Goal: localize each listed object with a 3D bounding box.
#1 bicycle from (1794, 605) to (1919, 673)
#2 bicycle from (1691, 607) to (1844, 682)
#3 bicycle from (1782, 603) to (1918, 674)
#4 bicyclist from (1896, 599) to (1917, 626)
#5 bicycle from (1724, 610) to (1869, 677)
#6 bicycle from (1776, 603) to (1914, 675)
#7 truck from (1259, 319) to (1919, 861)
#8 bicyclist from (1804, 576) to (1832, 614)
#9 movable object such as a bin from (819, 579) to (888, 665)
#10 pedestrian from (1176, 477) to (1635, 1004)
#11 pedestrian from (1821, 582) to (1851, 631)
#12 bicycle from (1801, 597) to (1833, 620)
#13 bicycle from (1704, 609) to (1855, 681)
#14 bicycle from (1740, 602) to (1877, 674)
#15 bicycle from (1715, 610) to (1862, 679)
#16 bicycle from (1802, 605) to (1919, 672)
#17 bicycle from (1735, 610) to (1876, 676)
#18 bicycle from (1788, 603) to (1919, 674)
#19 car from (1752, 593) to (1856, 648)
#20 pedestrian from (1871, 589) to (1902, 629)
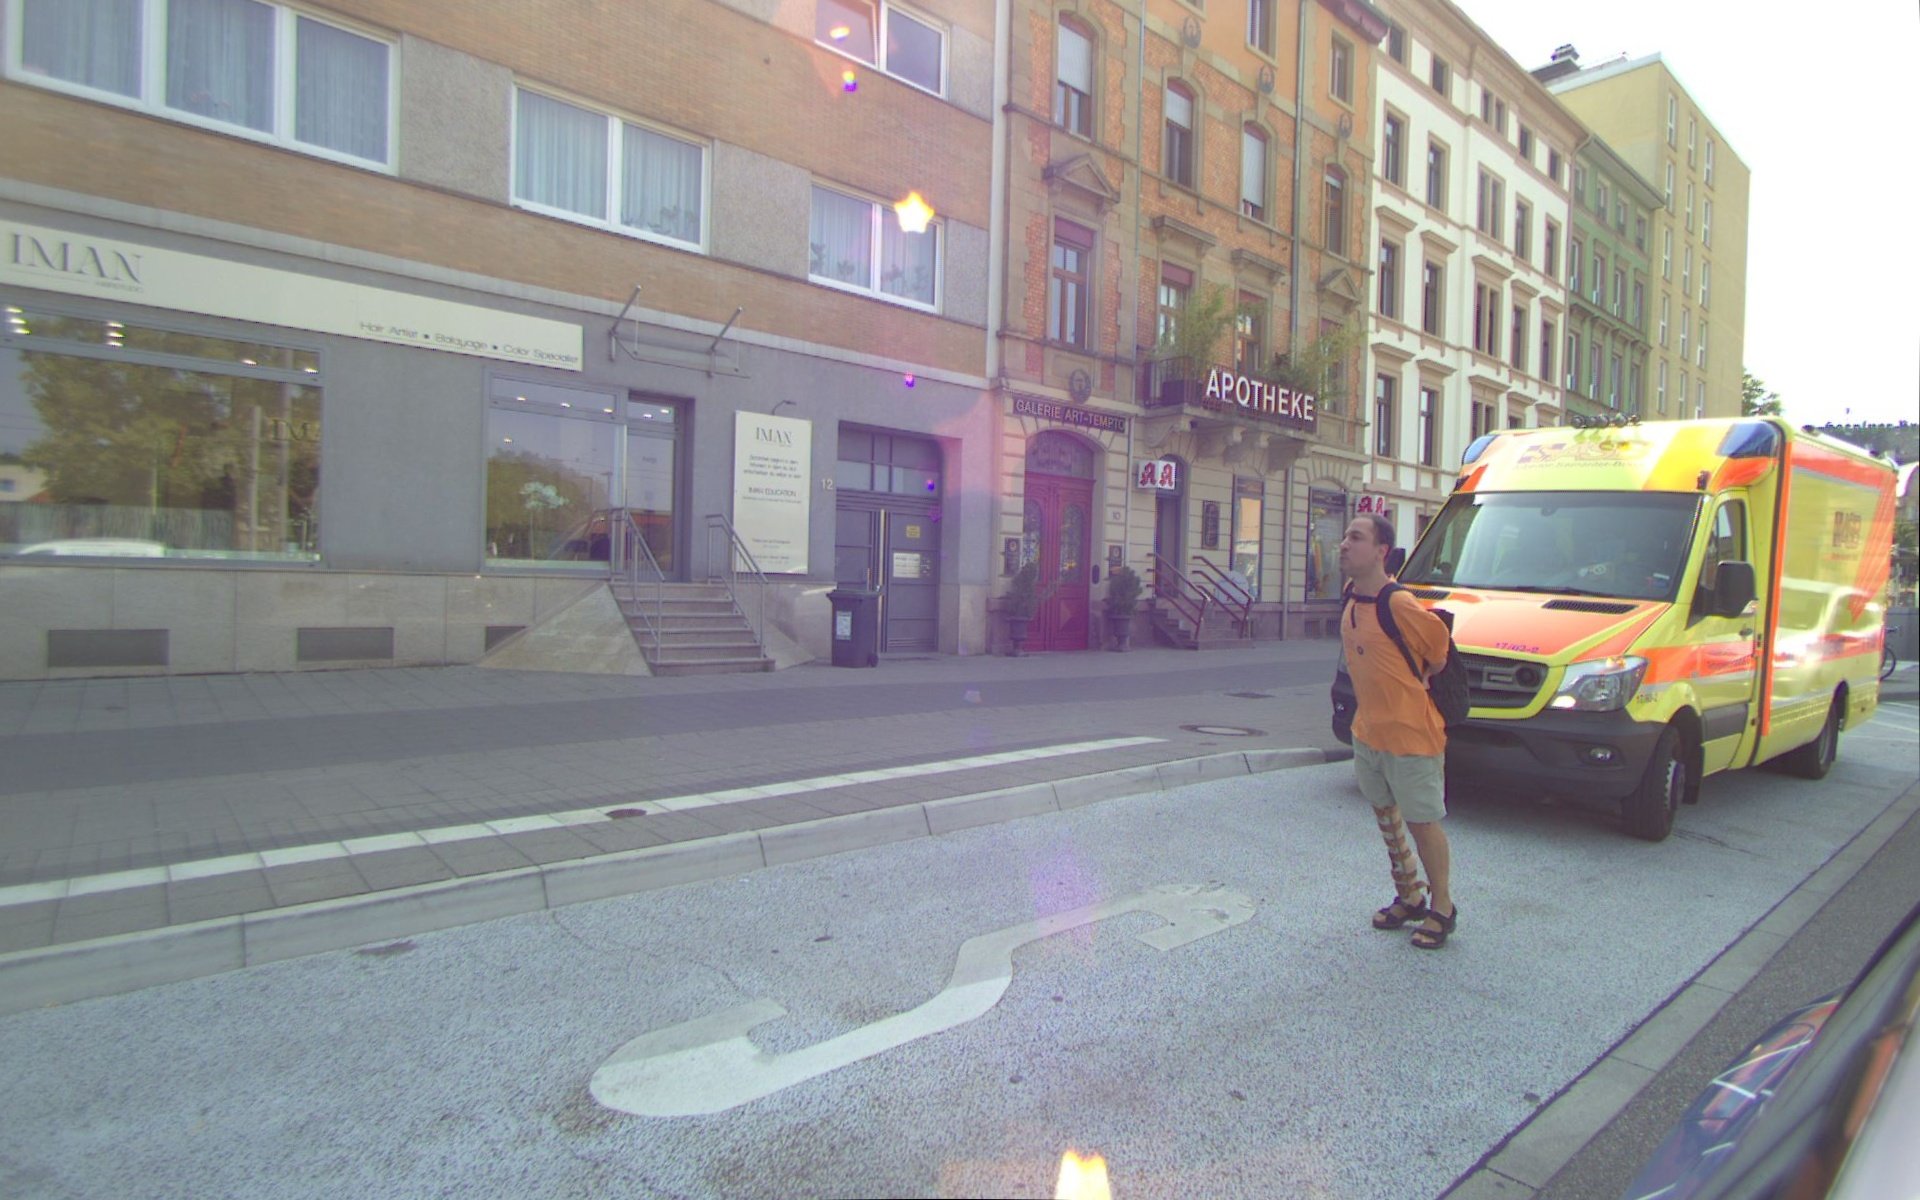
[{"bbox_3d":[17.033,0.710,19.186,0.427,1.219,1.841,1,0,-40],"label":"bicycle"},{"bbox_3d":[12.837,0.678,16.127,0.686,1.089,1.806,1,0,-40],"label":"bicycle"},{"bbox_3d":[16.322,0.685,18.598,0.427,1.219,1.841,1,0,-40],"label":"bicycle"},{"bbox_3d":[67.953,0.857,72.647,0.649,1.926,0.861,0,0,-15],"label":"bicyclist"},{"bbox_3d":[14.456,0.721,17.532,0.645,1.074,1.841,1,0,-40],"label":"bicycle"},{"bbox_3d":[15.986,0.671,18.331,0.427,1.219,1.841,1,0,-40],"label":"bicycle"},{"bbox_3d":[5.335,-0.117,8.069,6.221,2.803,2.336,0,4,-38],"label":"truck"},{"bbox_3d":[37.264,-0.227,43.969,1.083,1.607,0.721,1,1,-40],"label":"bicyclist"},{"bbox_3d":[-1.472,0.284,14.034,0.640,1.118,0.723,3,2,24],"label":"movable object such as a bin"},{"bbox_3d":[1.742,0.455,4.058,1.214,1.761,0.969,3,4,-28],"label":"pedestrian"},{"bbox_3d":[30.716,0.223,35.483,0.783,1.648,0.645,1,2,-43],"label":"pedestrian"},{"bbox_3d":[37.258,0.370,43.975,1.965,0.965,0.720,1,1,-40],"label":"bicycle"},{"bbox_3d":[13.444,0.710,16.653,0.645,1.074,1.841,1,0,-40],"label":"bicycle"},{"bbox_3d":[15.400,0.663,18.411,0.539,1.219,1.841,1,0,-40],"label":"bicycle"},{"bbox_3d":[13.963,0.715,17.101,0.645,1.066,1.841,1,0,-40],"label":"bicycle"},{"bbox_3d":[17.511,0.719,19.533,0.626,1.219,1.841,1,0,-39],"label":"bicycle"},{"bbox_3d":[14.980,0.738,17.964,0.645,1.070,1.841,1,0,-40],"label":"bicycle"},{"bbox_3d":[16.667,0.690,18.892,0.427,1.235,1.841,1,0,-40],"label":"bicycle"},{"bbox_3d":[25.408,0.581,30.434,3.863,1.444,1.667,1,4,-40],"label":"car"},{"bbox_3d":[39.595,0.384,43.249,0.780,1.648,0.647,1,2,-25],"label":"pedestrian"}]
